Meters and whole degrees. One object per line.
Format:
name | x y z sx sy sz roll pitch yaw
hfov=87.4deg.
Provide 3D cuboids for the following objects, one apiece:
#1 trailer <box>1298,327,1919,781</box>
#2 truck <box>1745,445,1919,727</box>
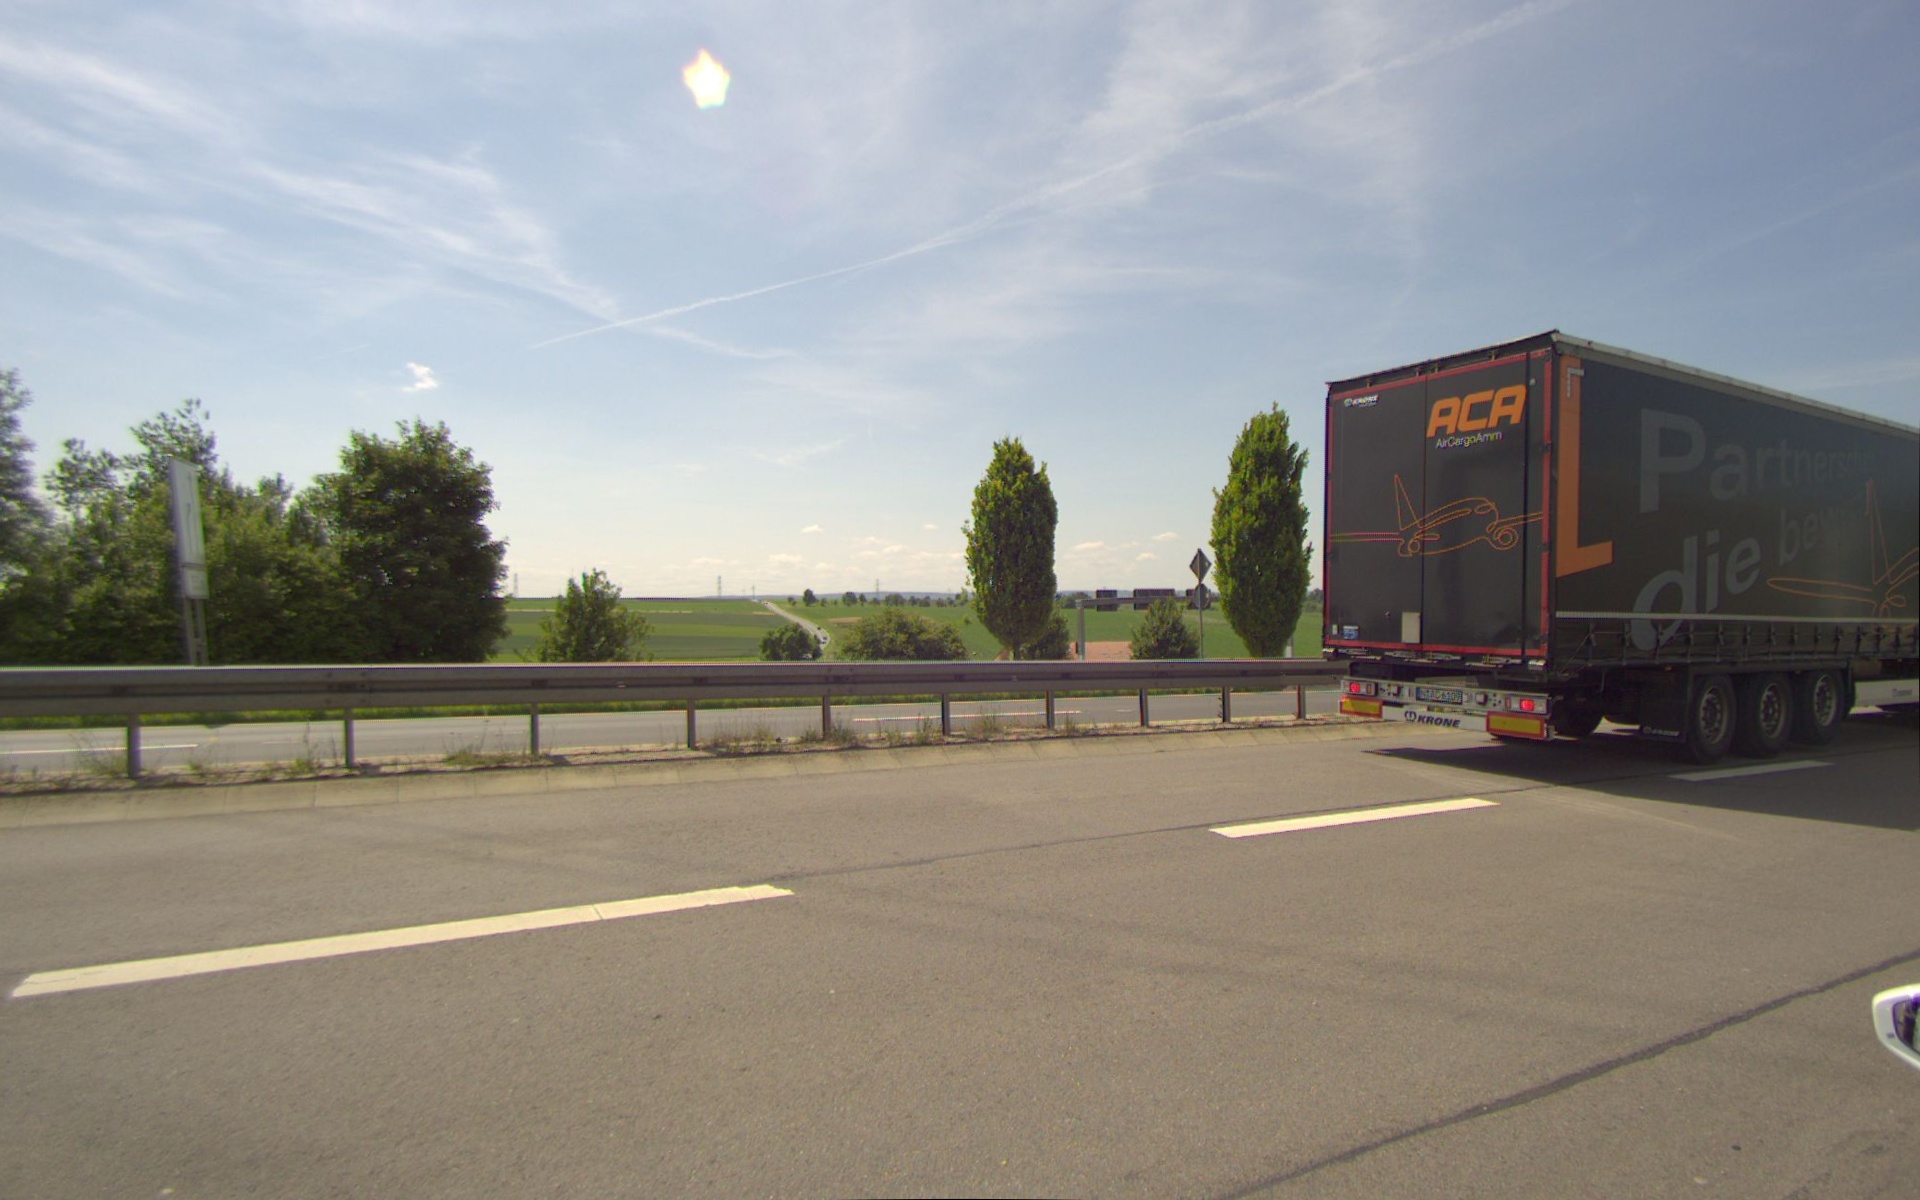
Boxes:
trailer | 10.392 -0.234 13.363 13.622 3.965 2.770 2 0 -30
truck | 16.053 -0.133 16.582 5.899 4.067 2.770 2 0 -30
